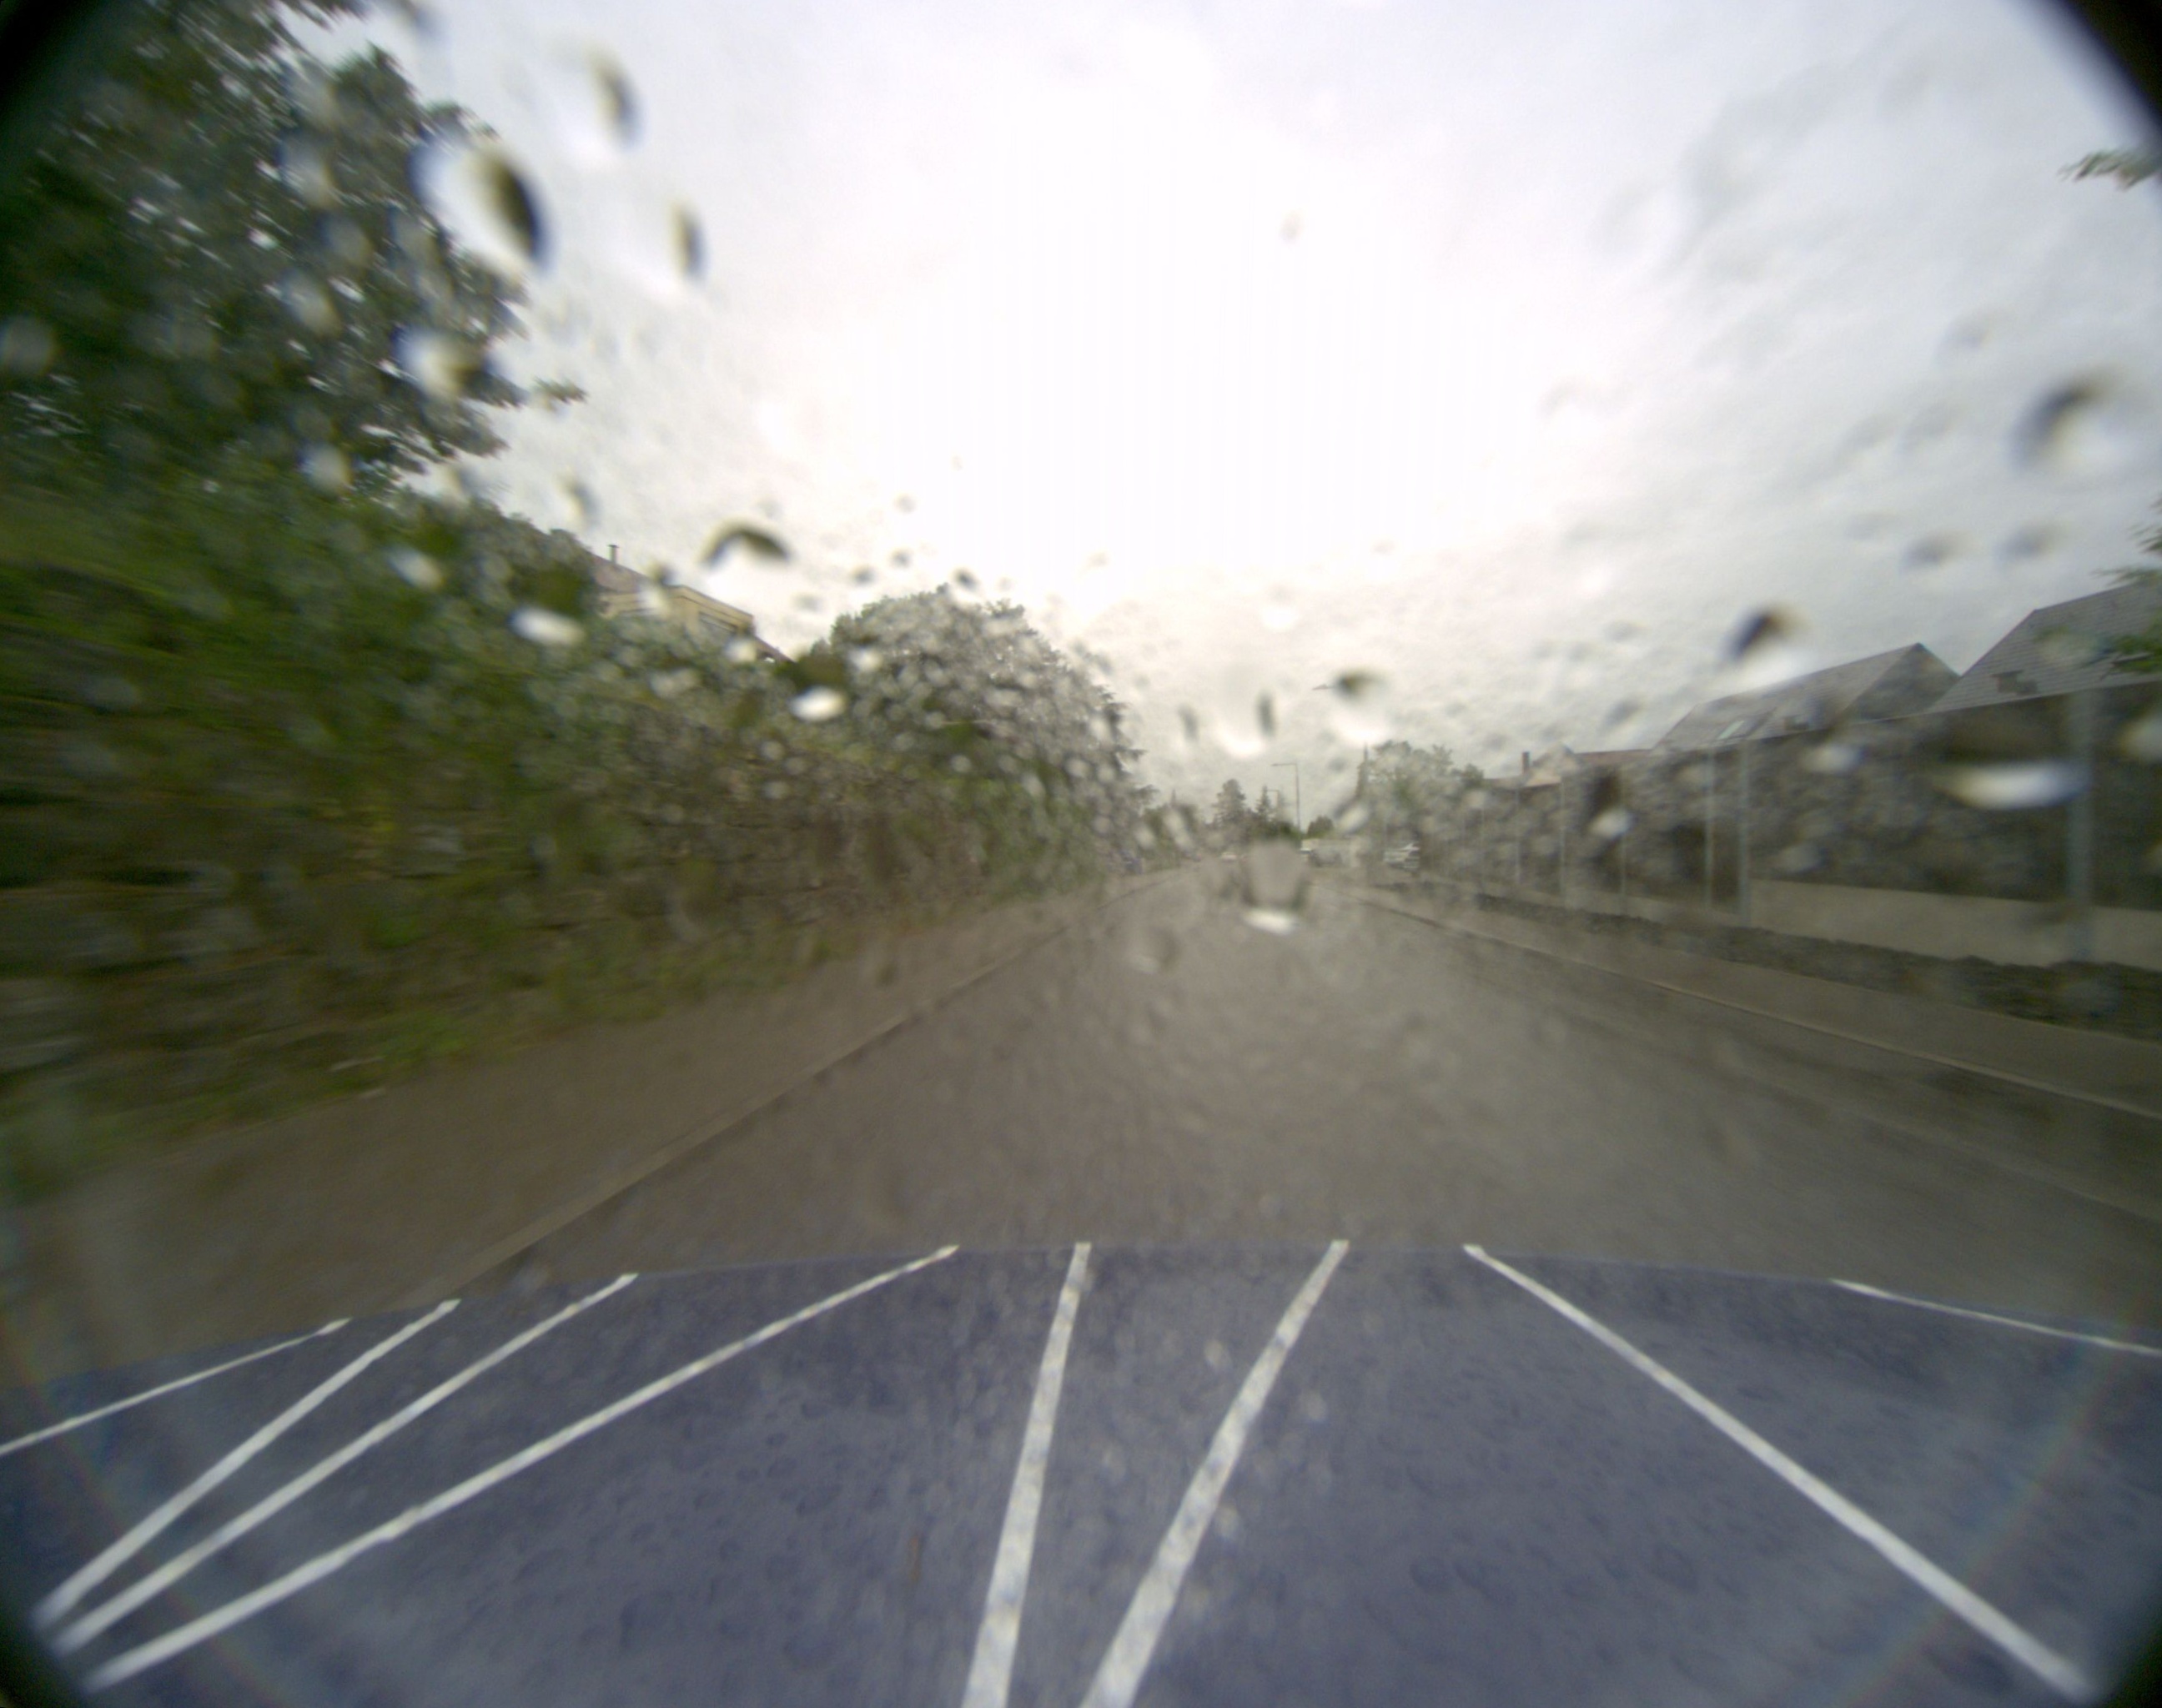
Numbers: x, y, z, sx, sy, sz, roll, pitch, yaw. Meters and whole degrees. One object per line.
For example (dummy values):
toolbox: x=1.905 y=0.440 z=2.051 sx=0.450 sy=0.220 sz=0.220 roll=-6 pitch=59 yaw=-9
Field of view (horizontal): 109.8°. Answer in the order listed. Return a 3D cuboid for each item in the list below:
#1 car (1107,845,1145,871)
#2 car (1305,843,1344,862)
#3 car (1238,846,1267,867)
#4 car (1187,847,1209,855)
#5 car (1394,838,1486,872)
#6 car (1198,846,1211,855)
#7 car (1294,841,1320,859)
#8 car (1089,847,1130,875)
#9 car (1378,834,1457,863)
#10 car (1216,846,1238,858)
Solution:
car: x=3.134 y=0.236 z=52.003 sx=1.997 sy=1.661 sz=4.547 roll=1 pitch=1 yaw=10
car: x=19.180 y=-0.107 z=59.995 sx=1.838 sy=1.397 sz=4.260 roll=-3 pitch=0 yaw=2
car: x=12.626 y=0.134 z=56.073 sx=1.884 sy=1.441 sz=4.212 roll=-2 pitch=0 yaw=10
car: x=23.463 y=-0.601 z=152.039 sx=3.998 sy=1.264 sz=1.873 roll=-3 pitch=1 yaw=-4
car: x=18.071 y=0.044 z=38.243 sx=4.539 sy=1.434 sz=1.757 roll=-4 pitch=1 yaw=-28
car: x=20.283 y=-0.589 z=124.719 sx=1.854 sy=1.461 sz=3.702 roll=-2 pitch=0 yaw=12
car: x=22.217 y=-0.420 z=74.530 sx=1.706 sy=1.544 sz=4.396 roll=-2 pitch=0 yaw=25
car: x=1.759 y=0.361 z=45.674 sx=1.813 sy=1.554 sz=4.013 roll=1 pitch=1 yaw=12
car: x=20.060 y=-0.333 z=45.321 sx=4.062 sy=1.565 sz=1.939 roll=-3 pitch=1 yaw=-21
car: x=19.868 y=-0.265 z=103.565 sx=1.852 sy=1.452 sz=4.267 roll=-3 pitch=0 yaw=-2
